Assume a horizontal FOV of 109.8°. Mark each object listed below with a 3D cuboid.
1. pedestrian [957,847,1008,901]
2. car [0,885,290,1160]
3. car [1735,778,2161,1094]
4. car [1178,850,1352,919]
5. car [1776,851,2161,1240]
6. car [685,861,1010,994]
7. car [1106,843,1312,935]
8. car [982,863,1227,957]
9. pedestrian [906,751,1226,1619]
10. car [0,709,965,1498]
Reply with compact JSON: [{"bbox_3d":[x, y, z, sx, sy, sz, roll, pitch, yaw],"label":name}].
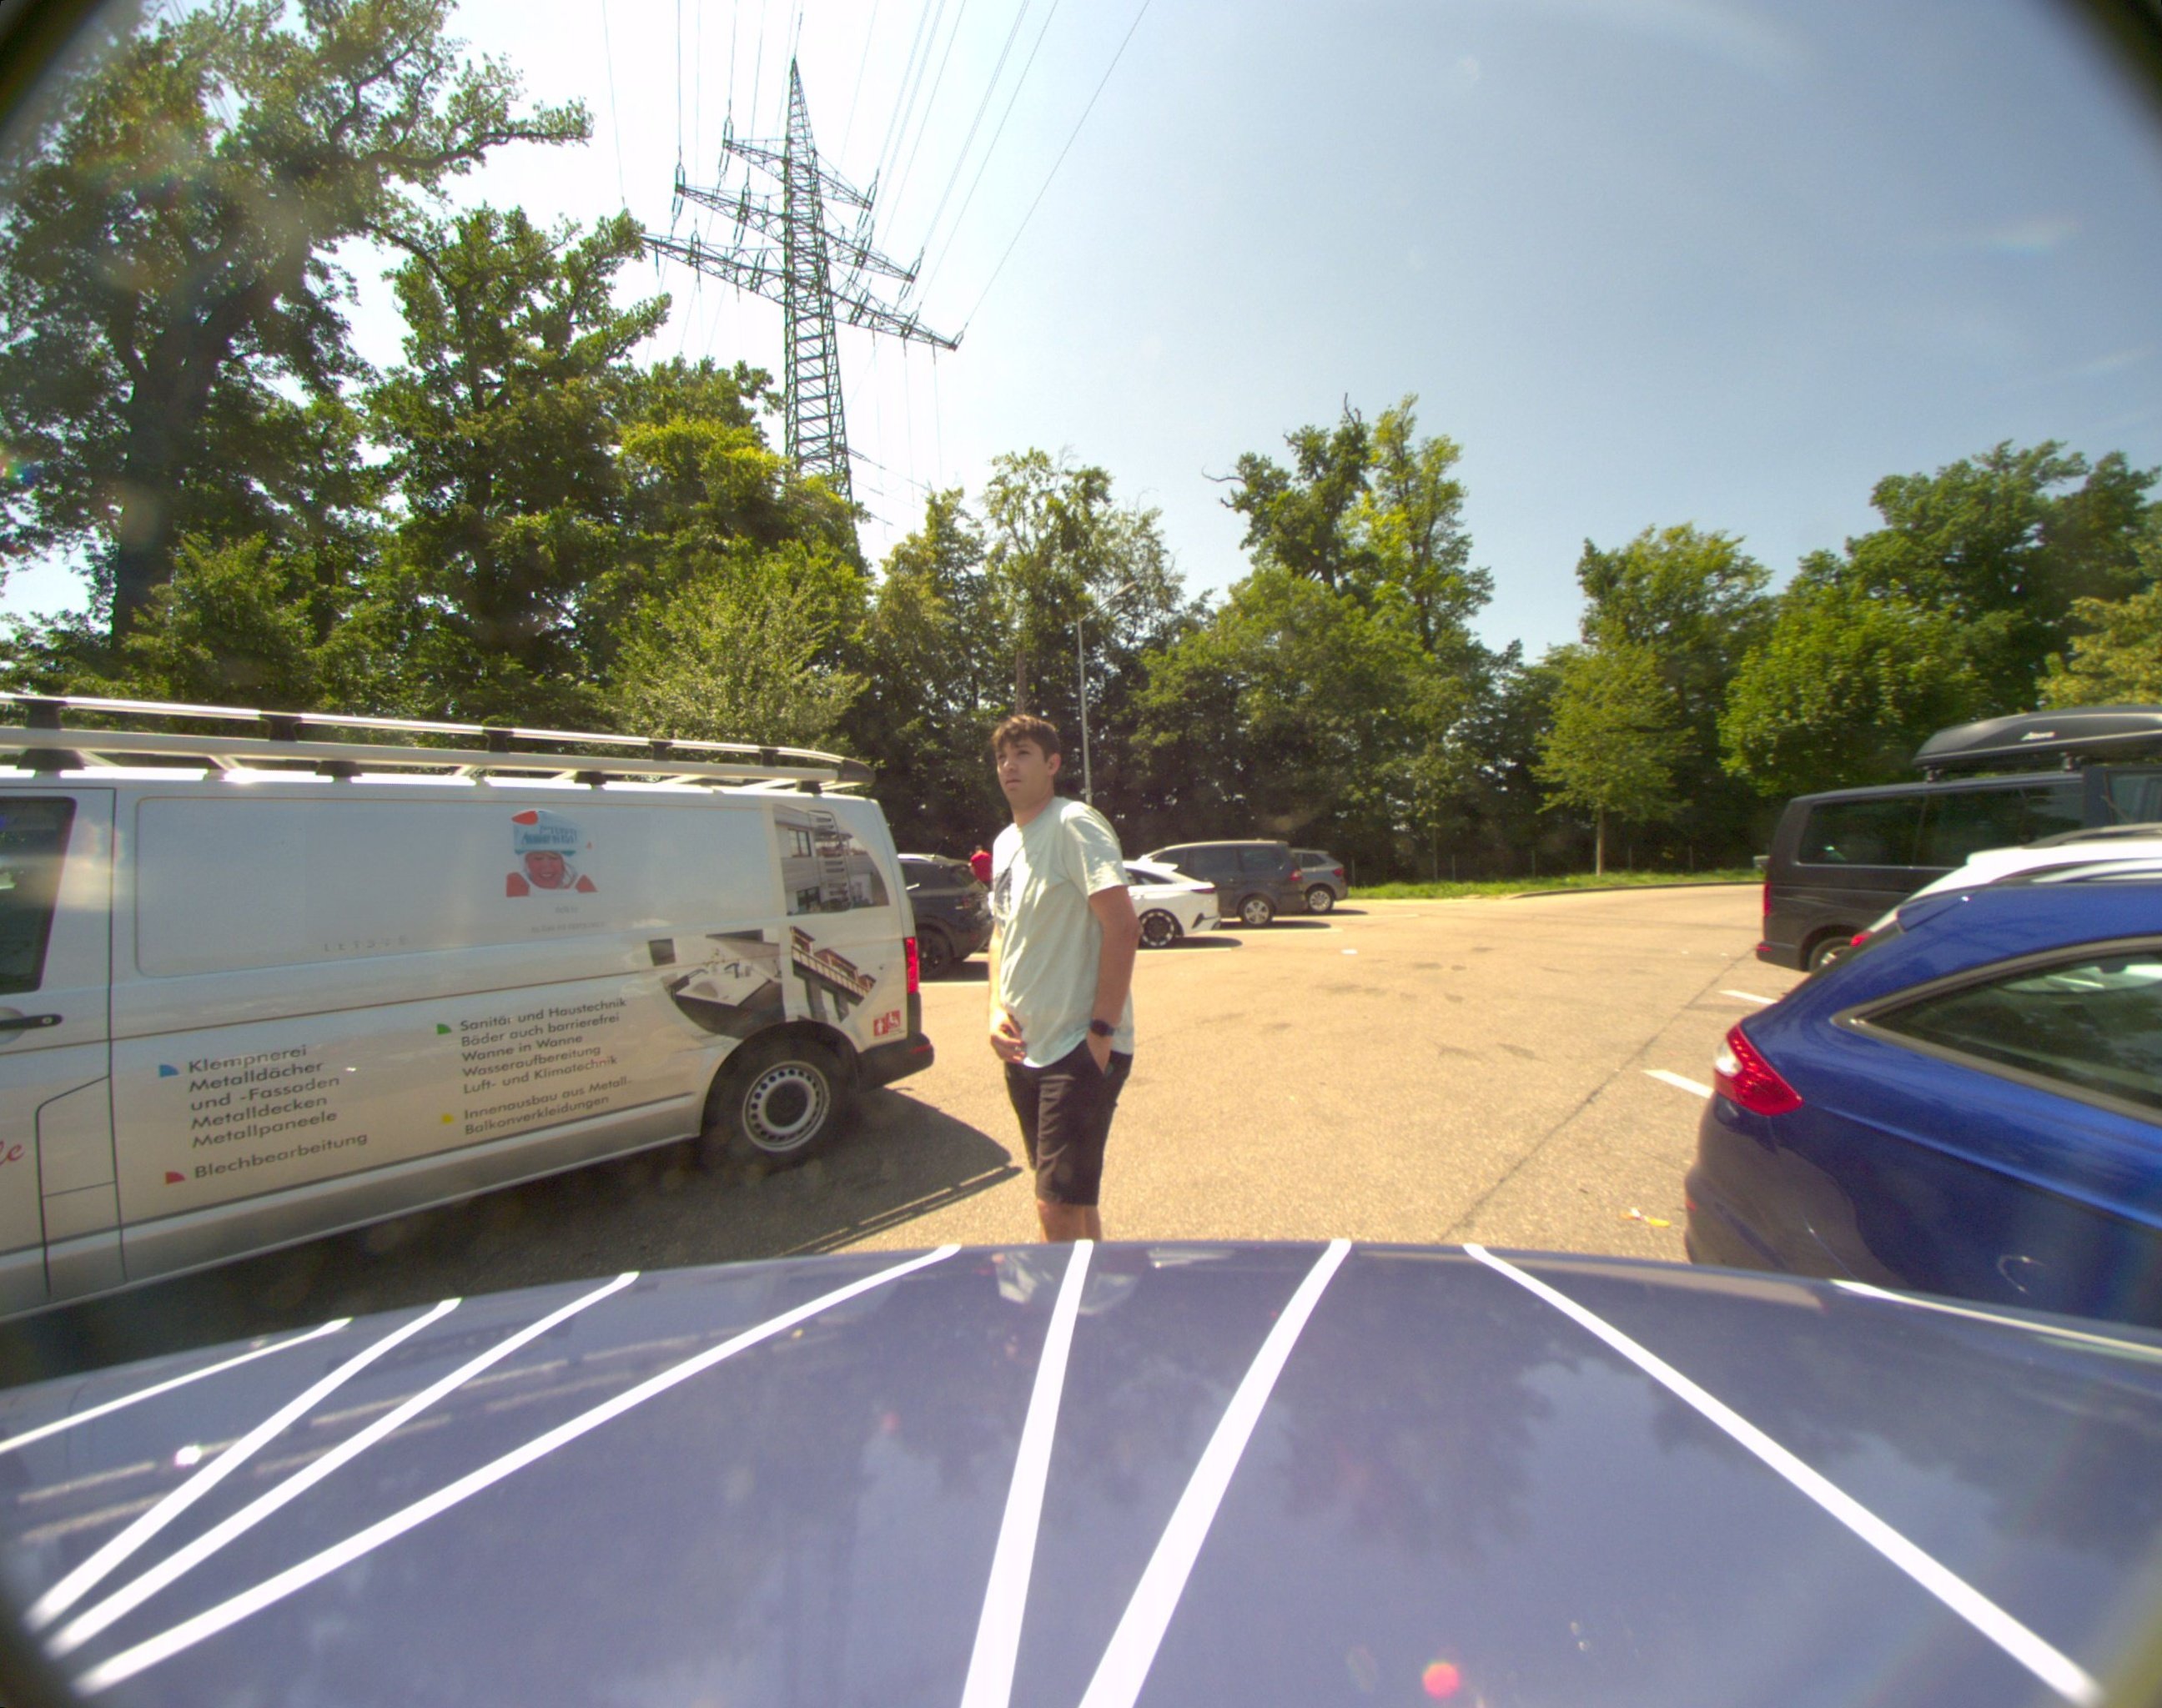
[{"bbox_3d":[-2.424,0.490,18.763,0.890,1.292,0.865,-2,0,23],"label":"pedestrian"},{"bbox_3d":[-8.334,1.089,5.472,3.950,1.581,1.753,-1,1,11],"label":"car"},{"bbox_3d":[7.317,0.453,5.051,2.048,1.850,4.430,-2,-1,-1],"label":"car"},{"bbox_3d":[4.271,0.703,18.143,3.805,1.468,1.743,-1,1,5],"label":"car"},{"bbox_3d":[4.789,0.698,2.455,1.607,1.405,3.743,-2,-1,-1],"label":"car"},{"bbox_3d":[-2.995,0.933,10.322,3.806,1.538,1.759,-1,1,2],"label":"car"},{"bbox_3d":[2.524,0.675,15.519,3.882,1.680,1.882,-1,0,5],"label":"car"},{"bbox_3d":[0.420,0.902,12.770,3.805,1.359,1.803,-1,1,5],"label":"car"},{"bbox_3d":[-0.098,0.705,2.075,0.634,1.857,0.747,-2,0,-17],"label":"pedestrian"},{"bbox_3d":[-3.296,0.695,3.109,5.323,2.137,1.995,-2,-1,-44],"label":"car"}]
